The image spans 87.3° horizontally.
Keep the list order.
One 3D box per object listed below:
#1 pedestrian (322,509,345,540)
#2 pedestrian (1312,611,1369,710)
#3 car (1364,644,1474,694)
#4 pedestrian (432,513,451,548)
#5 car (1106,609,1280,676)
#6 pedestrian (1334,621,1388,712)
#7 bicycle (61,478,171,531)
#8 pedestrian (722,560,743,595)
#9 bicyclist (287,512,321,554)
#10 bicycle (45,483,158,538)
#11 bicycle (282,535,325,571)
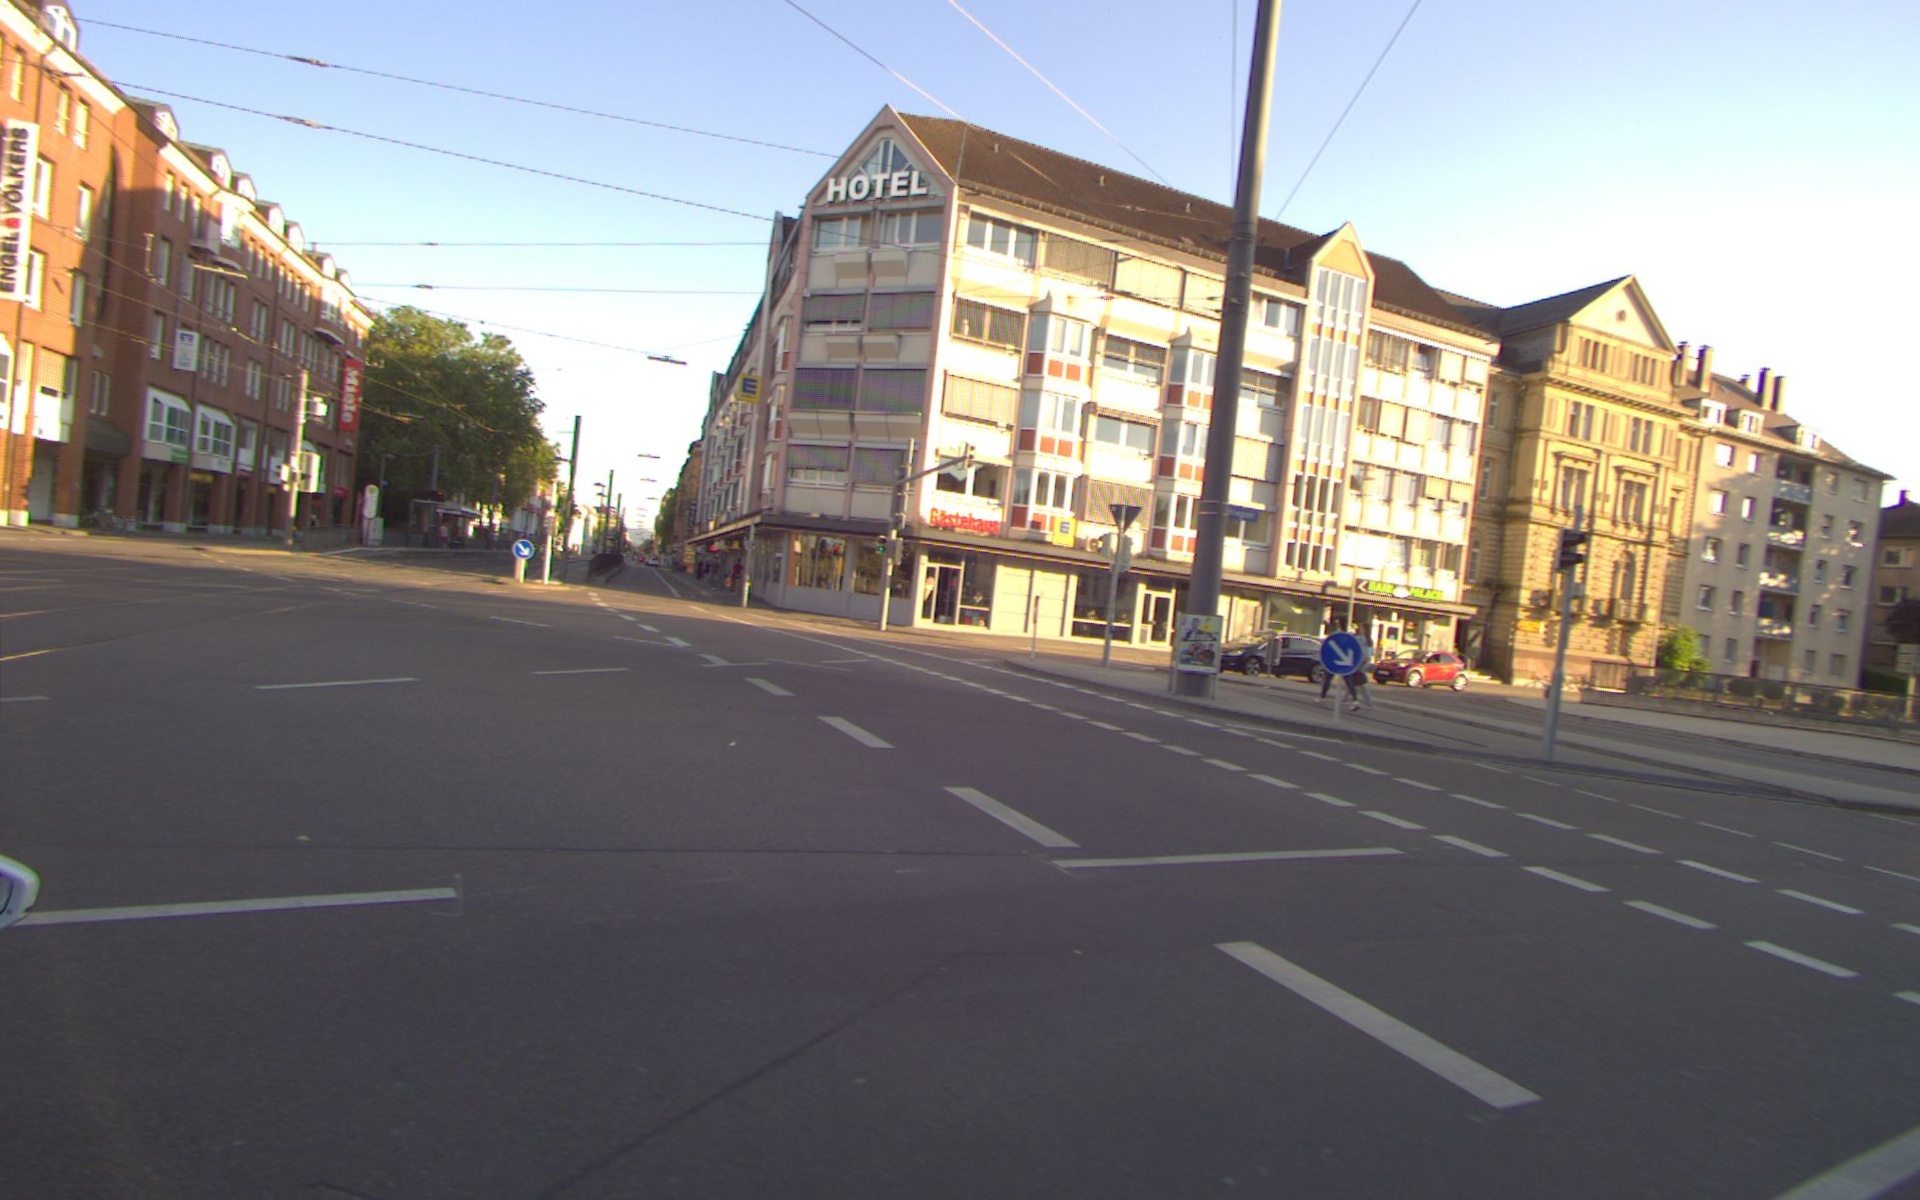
[{"bbox_3d":[-44.408,-5.341,71.285,1.074,2.040,1.078,6,2,-24],"label":"pedestrian"},{"bbox_3d":[6.883,1.081,18.235,0.713,1.670,0.771,7,2,16],"label":"pedestrian"},{"bbox_3d":[17.762,2.673,38.942,3.846,1.440,1.639,7,1,-25],"label":"car"},{"bbox_3d":[-31.607,-4.233,61.316,0.800,2.040,0.674,6,2,-23],"label":"pedestrian"},{"bbox_3d":[7.020,1.270,30.512,4.538,1.574,2.217,6,-1,-15],"label":"car"},{"bbox_3d":[7.551,1.227,18.971,0.692,1.603,0.825,7,2,16],"label":"pedestrian"},{"bbox_3d":[-35.436,-3.971,42.284,3.261,1.748,1.064,6,2,-21],"label":"bicycle"},{"bbox_3d":[-11.107,-1.117,49.196,0.698,1.569,0.901,7,4,-21],"label":"pedestrian"},{"bbox_3d":[-41.360,-4.203,63.492,1.276,2.501,1.660,6,2,-20],"label":"bicyclist"},{"bbox_3d":[-35.101,-3.644,41.189,3.260,1.748,1.064,6,2,-19],"label":"bicycle"},{"bbox_3d":[-41.606,-2.997,63.809,1.280,2.040,3.929,6,1,-20],"label":"bicycle"}]
